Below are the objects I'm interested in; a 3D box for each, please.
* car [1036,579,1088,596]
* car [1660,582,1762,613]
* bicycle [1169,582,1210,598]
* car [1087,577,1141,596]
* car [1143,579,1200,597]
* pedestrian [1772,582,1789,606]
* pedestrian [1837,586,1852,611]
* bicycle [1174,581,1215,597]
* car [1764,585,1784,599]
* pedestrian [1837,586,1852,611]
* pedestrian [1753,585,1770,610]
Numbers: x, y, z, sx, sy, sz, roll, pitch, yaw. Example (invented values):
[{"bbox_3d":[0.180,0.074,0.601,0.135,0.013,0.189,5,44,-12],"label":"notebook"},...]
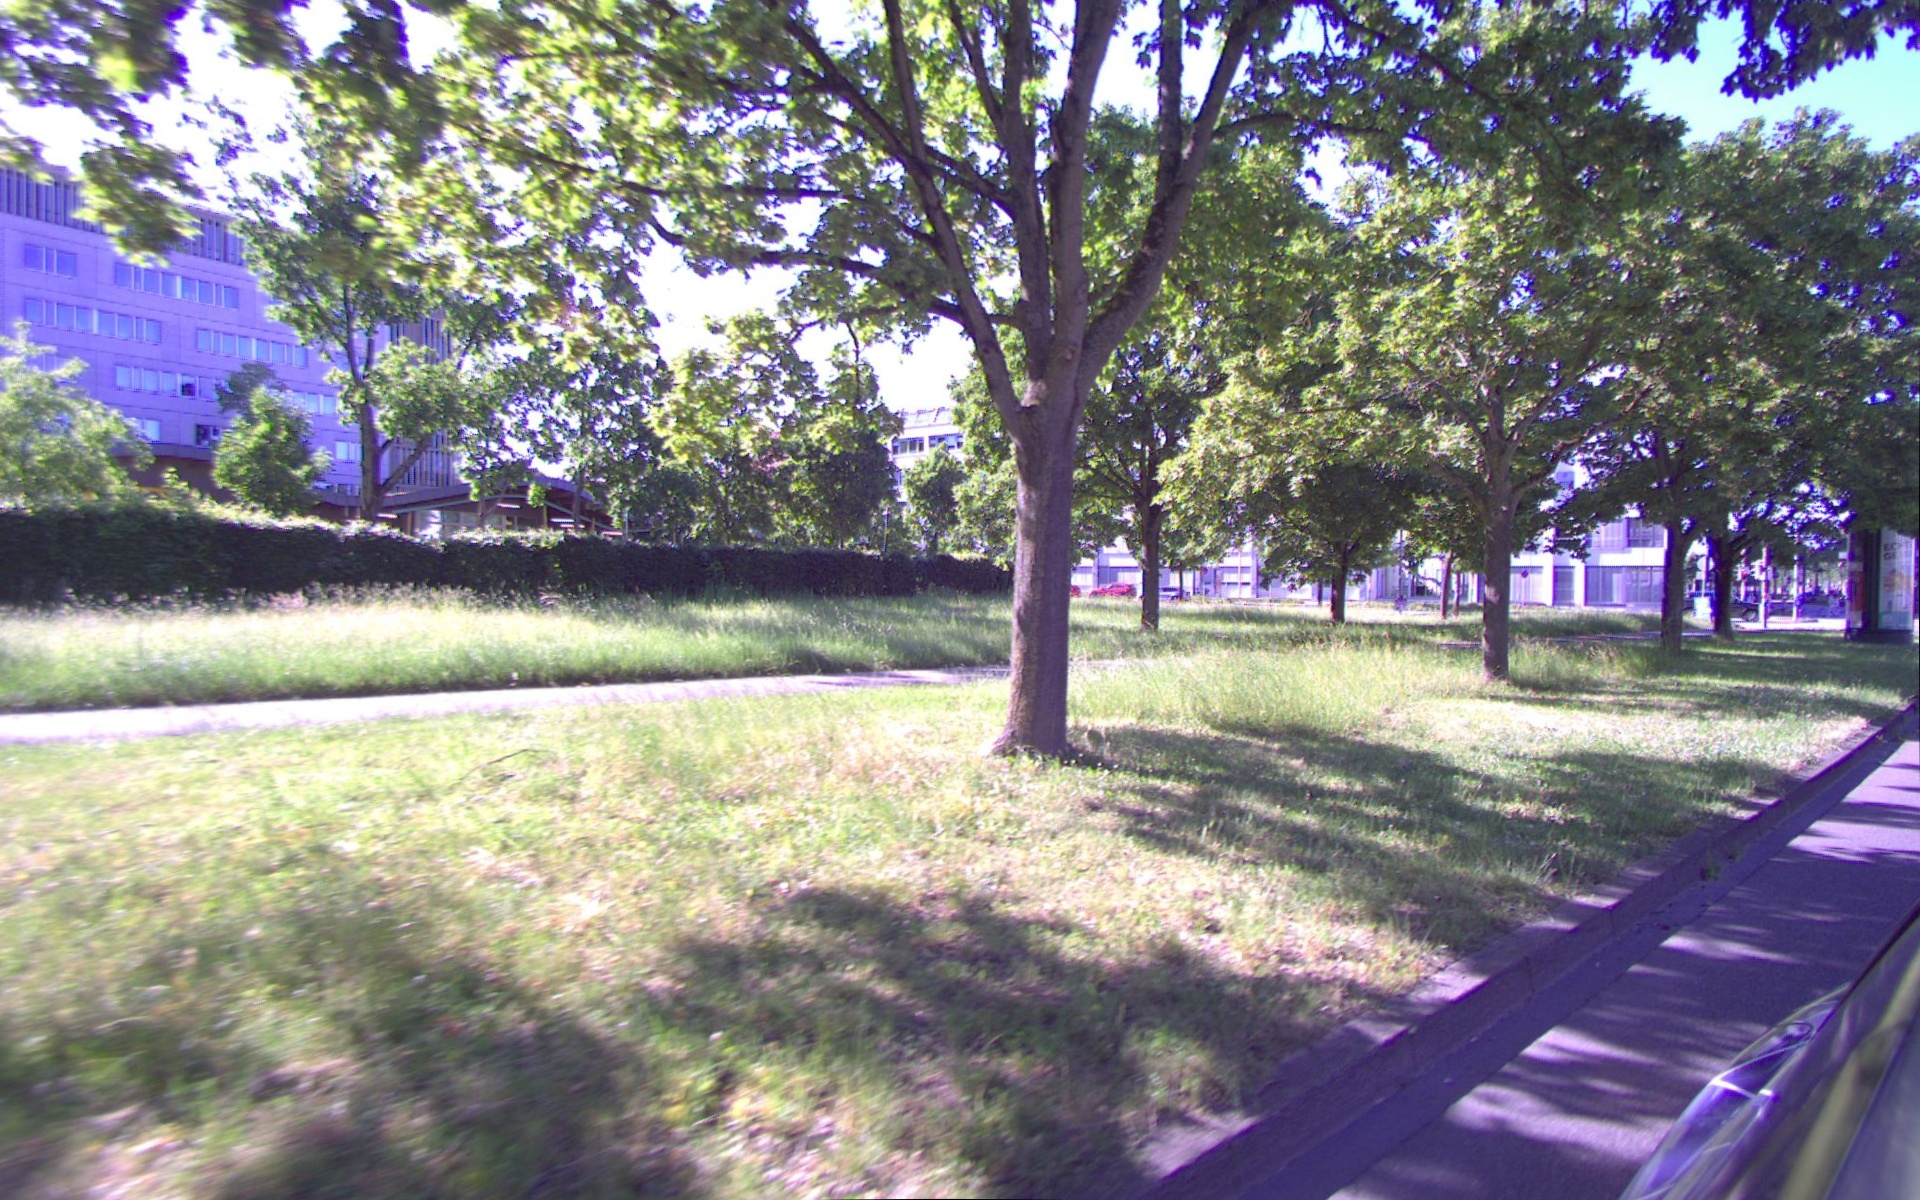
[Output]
[{"bbox_3d":[9.193,-1.165,91.441,4.257,1.438,1.896,1,1,34],"label":"car"},{"bbox_3d":[42.911,-0.161,57.914,4.607,1.643,1.973,1,2,38],"label":"car"},{"bbox_3d":[20.395,-0.939,89.925,3.514,1.365,0.977,1,1,37],"label":"bicycle"},{"bbox_3d":[13.460,-1.206,88.530,4.257,1.614,1.896,1,1,34],"label":"car"},{"bbox_3d":[17.421,-0.988,83.391,4.257,1.438,1.896,1,1,34],"label":"car"},{"bbox_3d":[59.692,-0.412,73.608,0.879,1.718,0.724,1,1,42],"label":"pedestrian"},{"bbox_3d":[60.859,-0.125,69.623,0.730,1.718,0.724,1,1,42],"label":"pedestrian"},{"bbox_3d":[21.012,-0.957,90.764,3.514,1.365,0.977,1,1,37],"label":"bicycle"},{"bbox_3d":[100.424,-0.965,124.866,1.683,1.731,4.187,1,1,35],"label":"car"},{"bbox_3d":[61.554,-0.101,70.411,0.730,1.718,0.724,1,1,42],"label":"pedestrian"},{"bbox_3d":[56.311,-0.159,71.093,0.721,1.718,0.733,0,1,-32],"label":"pedestrian"}]
